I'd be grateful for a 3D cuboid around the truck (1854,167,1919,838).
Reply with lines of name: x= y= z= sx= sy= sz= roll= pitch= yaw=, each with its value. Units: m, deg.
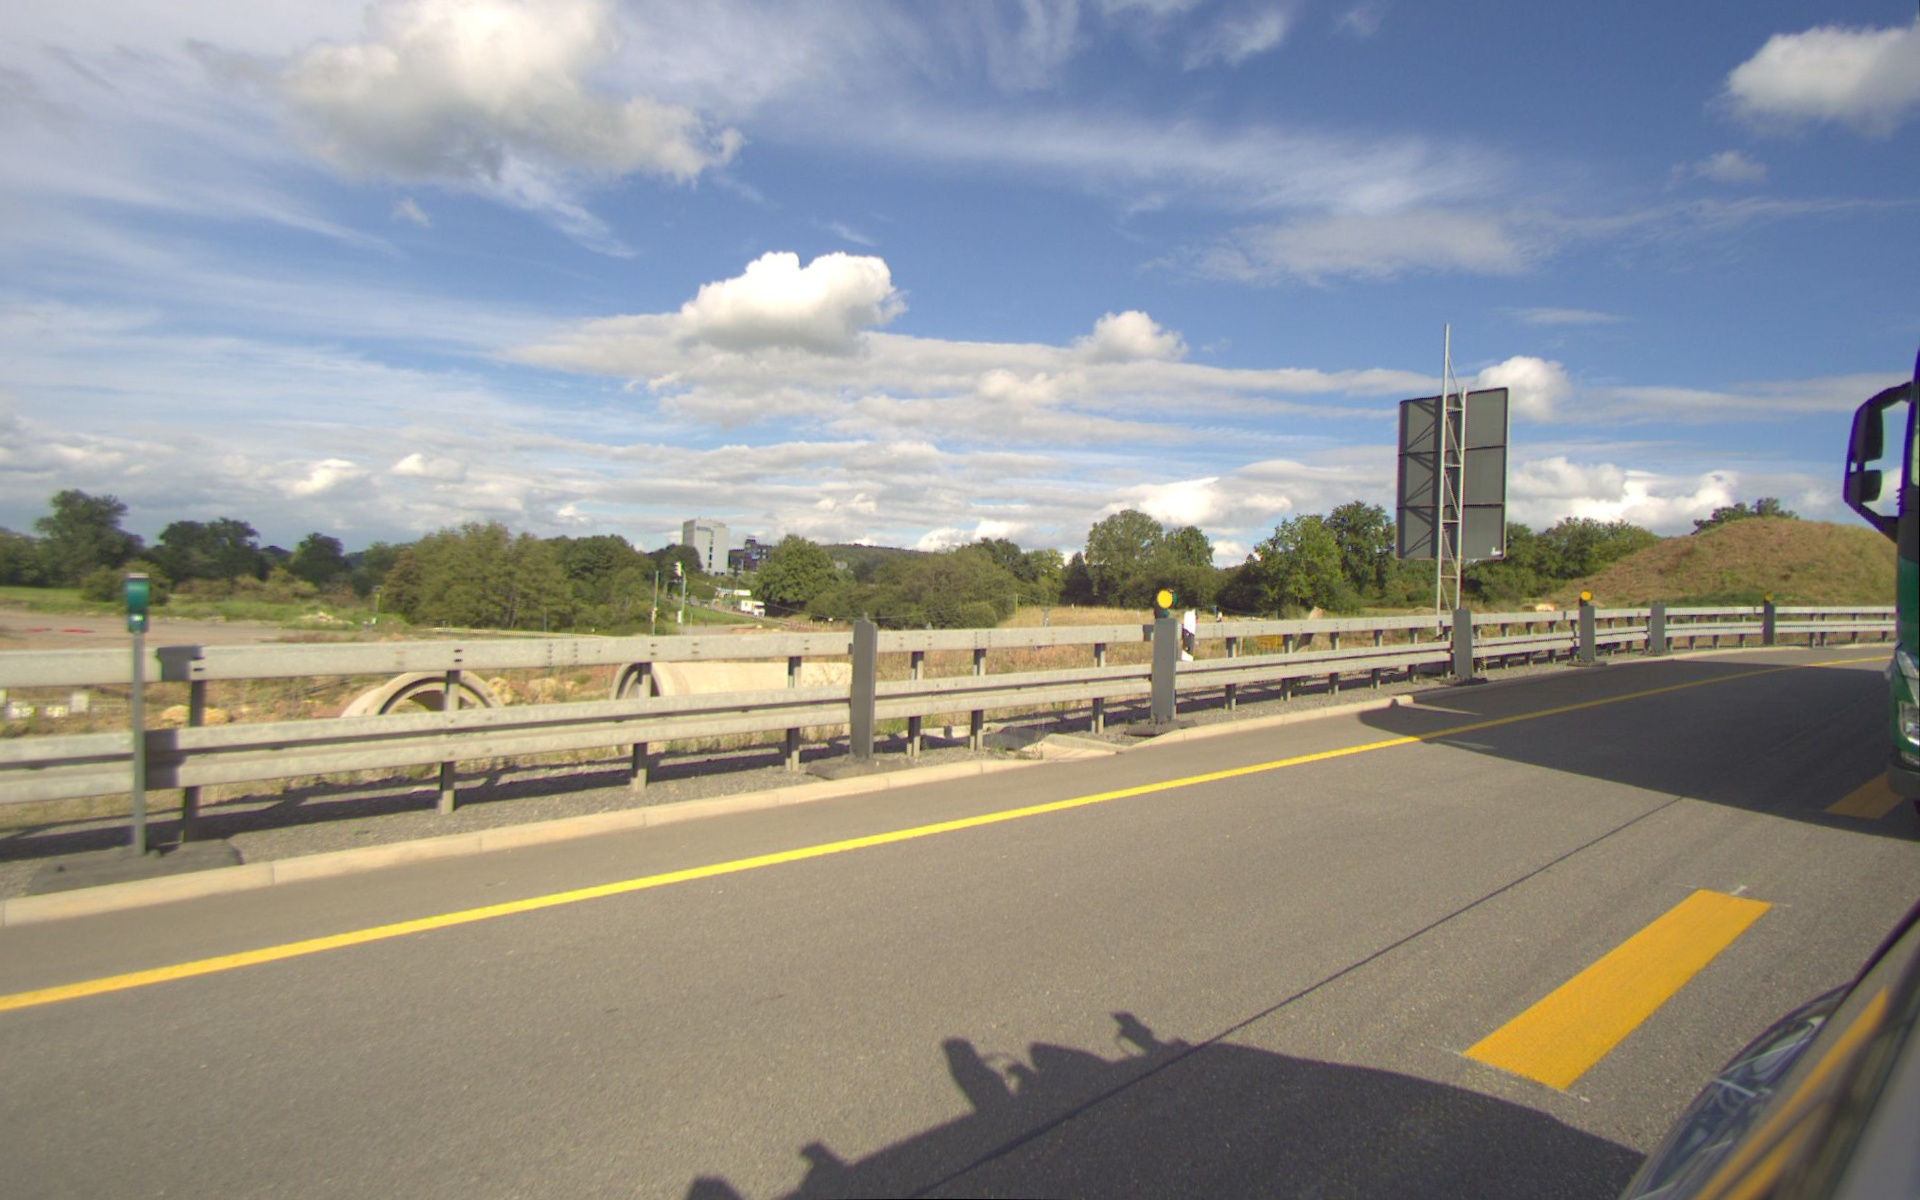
truck: x=10.134 y=-0.680 z=8.285 sx=10.135 sy=3.895 sz=2.662 roll=-2 pitch=1 yaw=-40
